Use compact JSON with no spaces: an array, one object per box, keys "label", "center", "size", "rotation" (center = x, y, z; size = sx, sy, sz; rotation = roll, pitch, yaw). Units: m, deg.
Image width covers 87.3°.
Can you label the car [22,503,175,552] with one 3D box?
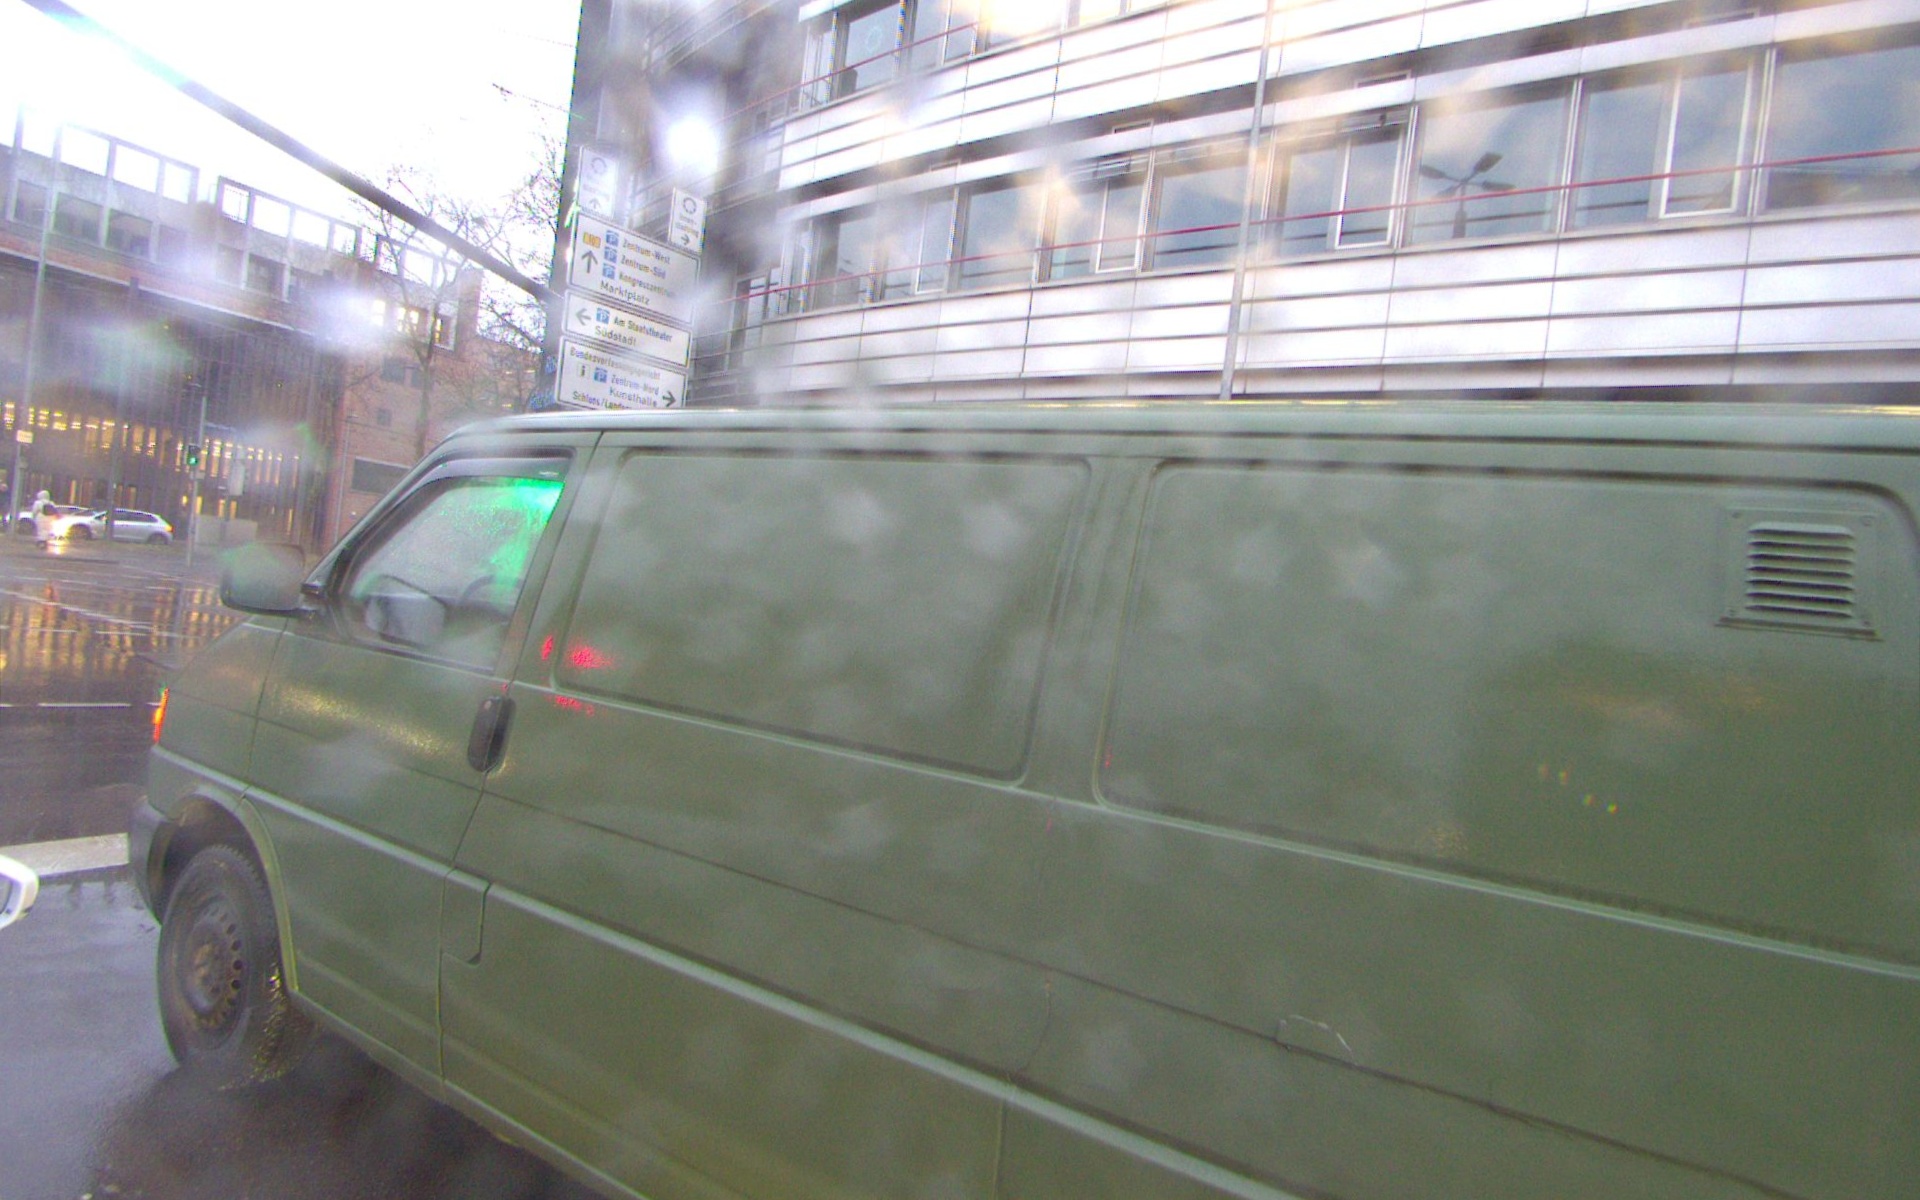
[{"label":"car","center":[-32.684,-2.715,38.296],"size":[1.782,1.358,3.989],"rotation":[7,1,24]}]

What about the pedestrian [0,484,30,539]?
[{"label":"pedestrian","center":[-33.509,-3.133,35.149],"size":[0.763,1.809,1.152],"rotation":[7,1,22]}]

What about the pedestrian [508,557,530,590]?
[{"label":"pedestrian","center":[-19.682,-1.187,44.890],"size":[0.470,1.381,0.606],"rotation":[7,1,30]}]

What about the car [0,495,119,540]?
[{"label":"car","center":[-39.675,-3.616,44.009],"size":[1.781,1.326,3.993],"rotation":[7,-1,23]}]

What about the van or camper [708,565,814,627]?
[{"label":"van or camper","center":[-7.672,-0.107,39.291],"size":[1.807,1.952,4.750],"rotation":[7,-1,18]}]

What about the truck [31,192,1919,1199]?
[{"label":"truck","center":[-0.364,0.475,2.779],"size":[4.540,1.939,1.908],"rotation":[7,-2,31]}]

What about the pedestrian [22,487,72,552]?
[{"label":"pedestrian","center":[-27.295,-2.393,30.076],"size":[0.721,1.809,0.736],"rotation":[7,1,18]}]
